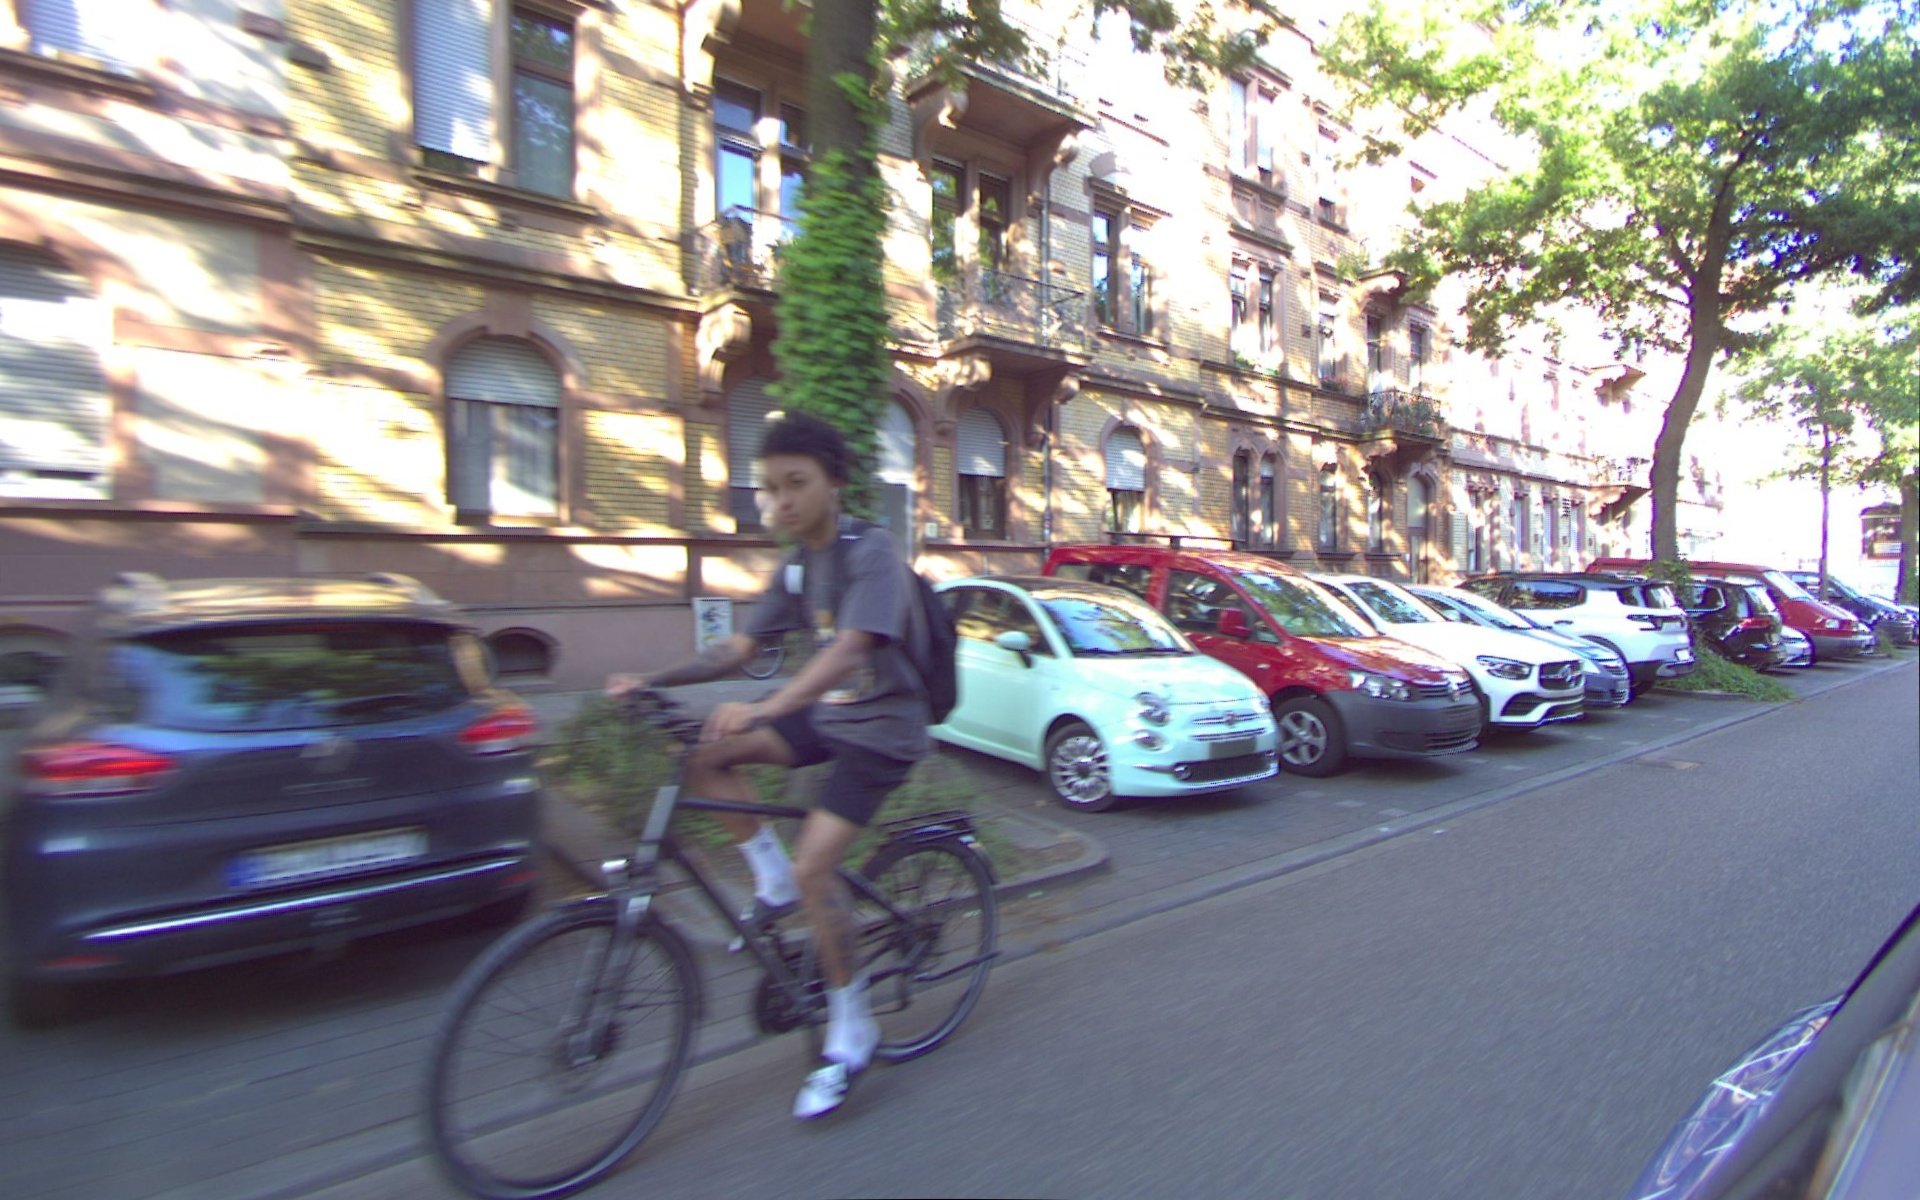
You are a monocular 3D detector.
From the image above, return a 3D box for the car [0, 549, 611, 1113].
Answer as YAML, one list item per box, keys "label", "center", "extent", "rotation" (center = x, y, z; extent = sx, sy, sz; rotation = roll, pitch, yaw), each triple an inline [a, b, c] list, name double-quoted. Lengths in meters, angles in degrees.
- label: "car"
  center: [-3.225, 0.522, 4.736]
  extent: [1.703, 1.485, 4.019]
  rotation: [-1, 3, -40]

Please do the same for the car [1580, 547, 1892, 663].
- label: "car"
  center: [15.496, -0.022, 20.462]
  extent: [1.845, 2.058, 4.686]
  rotation: [-1, 3, -39]

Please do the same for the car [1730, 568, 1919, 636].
- label: "car"
  center: [24.909, -0.011, 28.546]
  extent: [1.814, 1.699, 4.709]
  rotation: [-1, 3, -30]

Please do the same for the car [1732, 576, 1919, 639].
- label: "car"
  center: [23.263, 0.168, 26.873]
  extent: [1.694, 1.554, 4.115]
  rotation: [-1, 1, -39]

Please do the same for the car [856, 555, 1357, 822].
- label: "car"
  center: [0.886, 0.459, 7.870]
  extent: [1.814, 1.473, 3.673]
  rotation: [1, 2, -34]

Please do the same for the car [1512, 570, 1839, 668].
- label: "car"
  center: [13.287, 0.241, 19.090]
  extent: [1.845, 1.533, 4.688]
  rotation: [-1, 3, -38]

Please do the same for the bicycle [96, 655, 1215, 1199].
- label: "bicycle"
  center: [-0.544, 0.846, 2.863]
  extent: [2.872, 1.172, 0.997]
  rotation: [-1, 2, -41]

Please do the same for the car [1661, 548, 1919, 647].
- label: "car"
  center: [20.874, -0.100, 25.440]
  extent: [1.957, 2.242, 5.032]
  rotation: [-1, 1, -39]

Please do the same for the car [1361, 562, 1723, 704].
- label: "car"
  center: [7.982, 0.315, 14.176]
  extent: [1.774, 1.647, 4.018]
  rotation: [-1, 3, -41]

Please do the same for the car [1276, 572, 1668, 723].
- label: "car"
  center: [6.259, 0.441, 12.777]
  extent: [1.762, 1.451, 4.022]
  rotation: [-1, 4, -38]

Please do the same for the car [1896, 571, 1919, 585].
- label: "car"
  center: [112.316, -2.636, 117.977]
  extent: [4.271, 1.605, 1.978]
  rotation: [0, 1, 32]

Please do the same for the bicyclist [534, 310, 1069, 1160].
- label: "bicyclist"
  center: [-0.455, 0.273, 2.925]
  extent: [1.186, 1.812, 0.998]
  rotation: [-1, 1, -41]

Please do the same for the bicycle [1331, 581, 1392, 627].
- label: "bicycle"
  center: [8.874, 0.071, 22.352]
  extent: [1.834, 0.974, 0.405]
  rotation: [-1, 4, -40]

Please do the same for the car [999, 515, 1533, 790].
- label: "car"
  center: [2.561, 0.257, 9.452]
  extent: [1.817, 1.948, 4.454]
  rotation: [1, 3, -40]

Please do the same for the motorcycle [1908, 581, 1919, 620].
- label: "motorcycle"
  center: [32.170, 0.052, 32.858]
  extent: [0.674, 1.249, 1.902]
  rotation: [-1, 3, -39]

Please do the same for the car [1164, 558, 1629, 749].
- label: "car"
  center: [4.462, 0.401, 11.081]
  extent: [1.814, 1.575, 4.363]
  rotation: [1, 2, -32]

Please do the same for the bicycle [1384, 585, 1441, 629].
- label: "bicycle"
  center: [10.487, 0.144, 23.432]
  extent: [1.834, 0.974, 0.405]
  rotation: [-1, 4, -40]

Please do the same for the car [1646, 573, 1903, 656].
- label: "car"
  center: [17.623, 0.230, 22.055]
  extent: [1.846, 1.528, 4.063]
  rotation: [-1, 3, -40]

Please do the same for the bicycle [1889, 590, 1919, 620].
- label: "bicycle"
  center: [32.304, 0.202, 33.731]
  extent: [0.348, 0.938, 1.934]
  rotation: [-2, 4, -40]

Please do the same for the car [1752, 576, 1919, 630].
- label: "car"
  center: [26.754, 0.061, 30.030]
  extent: [1.817, 1.430, 4.800]
  rotation: [-1, 3, -37]

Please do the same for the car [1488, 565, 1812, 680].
- label: "car"
  center: [11.556, 0.260, 17.202]
  extent: [1.805, 1.647, 4.196]
  rotation: [-1, 3, -40]

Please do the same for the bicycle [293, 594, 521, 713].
- label: "bicycle"
  center: [-5.287, 0.467, 9.760]
  extent: [1.860, 1.013, 0.554]
  rotation: [-1, 3, -40]

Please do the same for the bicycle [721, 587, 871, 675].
- label: "bicycle"
  center: [-2.053, 0.360, 12.846]
  extent: [1.860, 1.013, 0.554]
  rotation: [-1, 3, -40]

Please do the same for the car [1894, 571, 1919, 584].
- label: "car"
  center: [115.476, -2.708, 121.765]
  extent: [4.271, 1.605, 1.978]
  rotation: [0, 1, 32]
